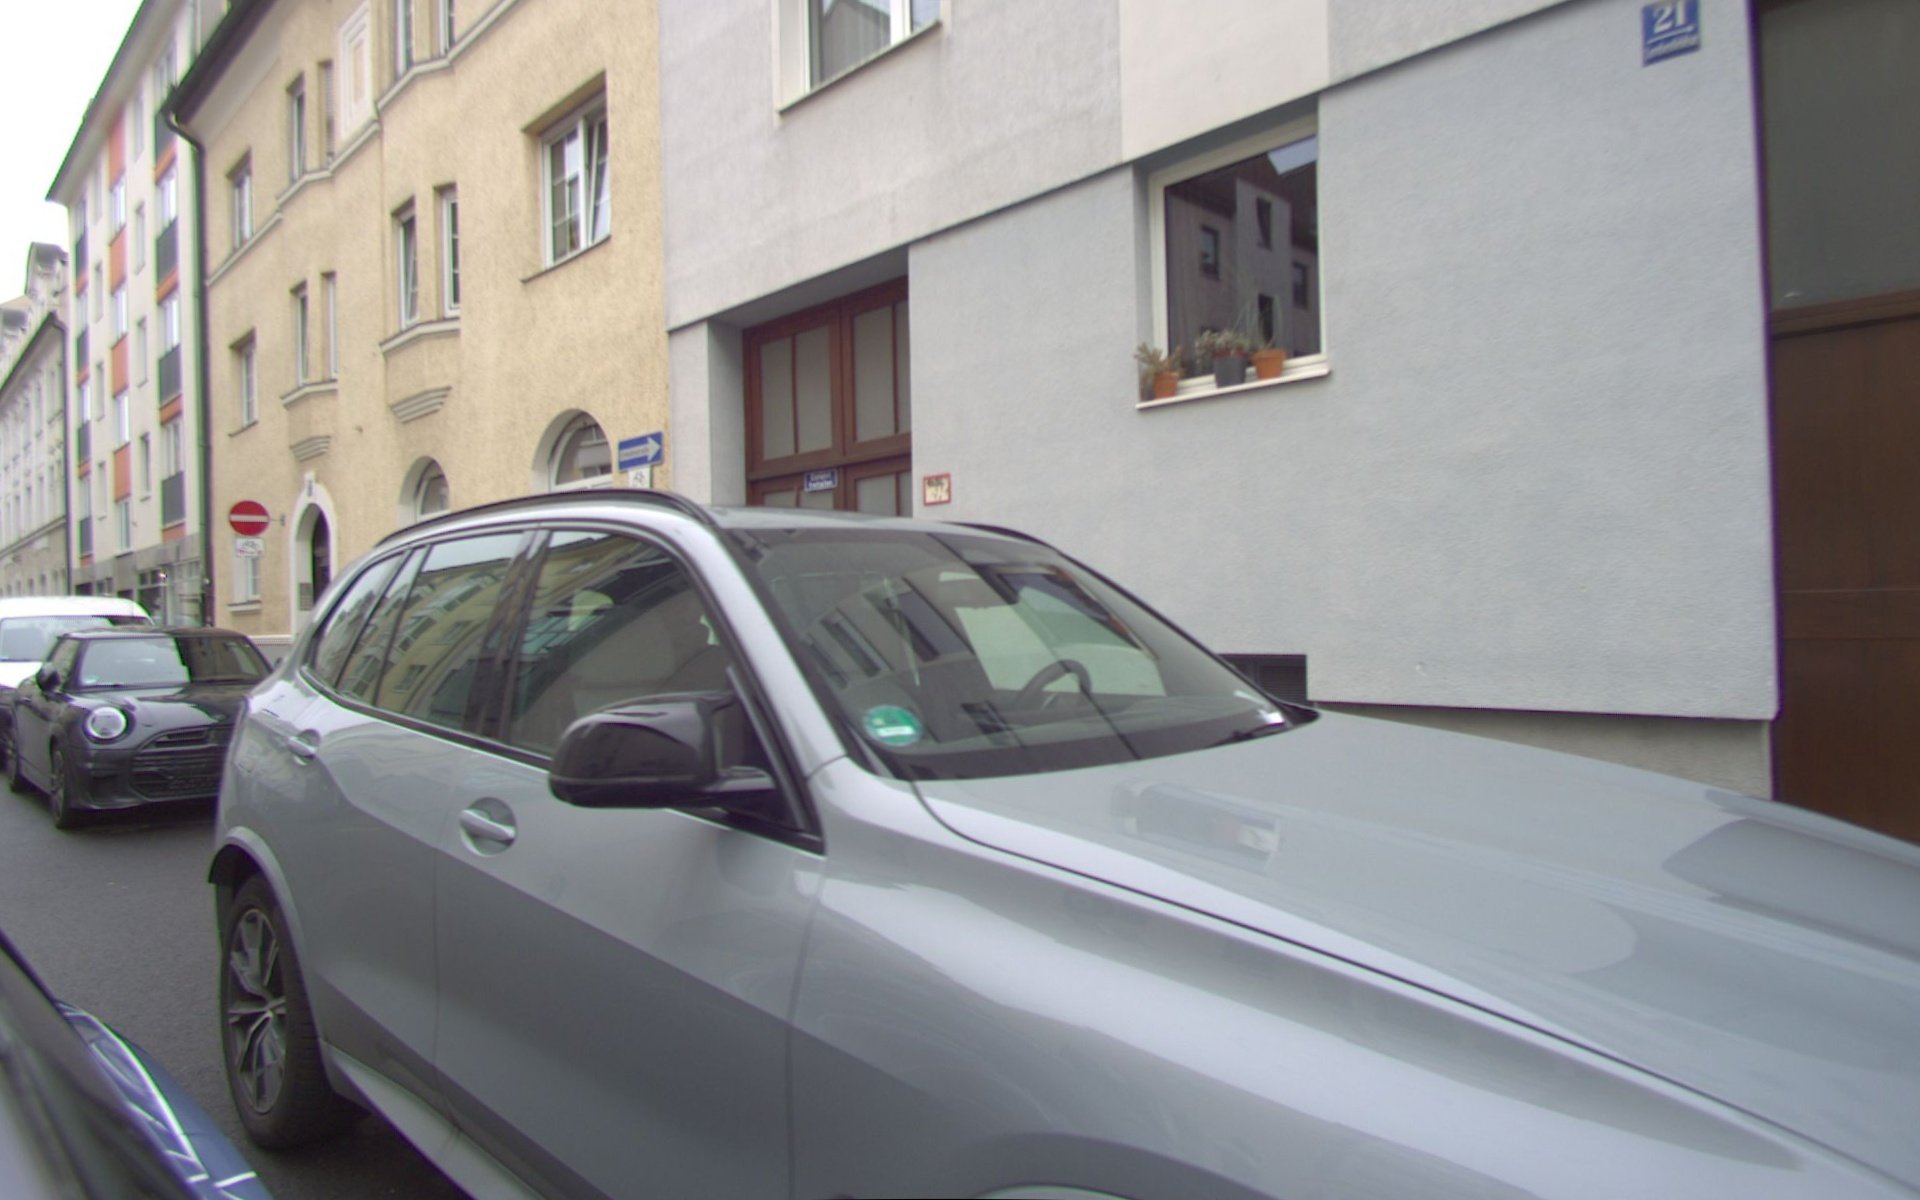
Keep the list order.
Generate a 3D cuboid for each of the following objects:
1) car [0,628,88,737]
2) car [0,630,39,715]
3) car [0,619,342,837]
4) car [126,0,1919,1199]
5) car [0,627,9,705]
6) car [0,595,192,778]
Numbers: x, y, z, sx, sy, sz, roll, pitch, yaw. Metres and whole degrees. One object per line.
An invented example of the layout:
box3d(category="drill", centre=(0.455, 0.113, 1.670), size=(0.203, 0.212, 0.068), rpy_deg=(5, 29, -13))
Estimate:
box3d(category="car", centre=(-14.587, 1.185, 15.258), size=(4.111, 1.486, 1.654), rpy_deg=(-2, -3, 42))
box3d(category="car", centre=(-18.539, 1.331, 18.845), size=(3.839, 1.486, 1.611), rpy_deg=(-2, -3, 41))
box3d(category="car", centre=(-6.748, 0.924, 8.479), size=(3.733, 1.422, 1.634), rpy_deg=(-3, -3, 41))
box3d(category="car", centre=(-0.218, 0.537, 2.435), size=(4.730, 1.783, 1.844), rpy_deg=(-3, -3, 39))
box3d(category="car", centre=(-21.976, 1.404, 21.631), size=(4.302, 1.617, 1.764), rpy_deg=(-2, -3, 38))
box3d(category="car", centre=(-10.564, 0.892, 11.911), size=(4.249, 1.802, 1.705), rpy_deg=(-1, -2, 43))
